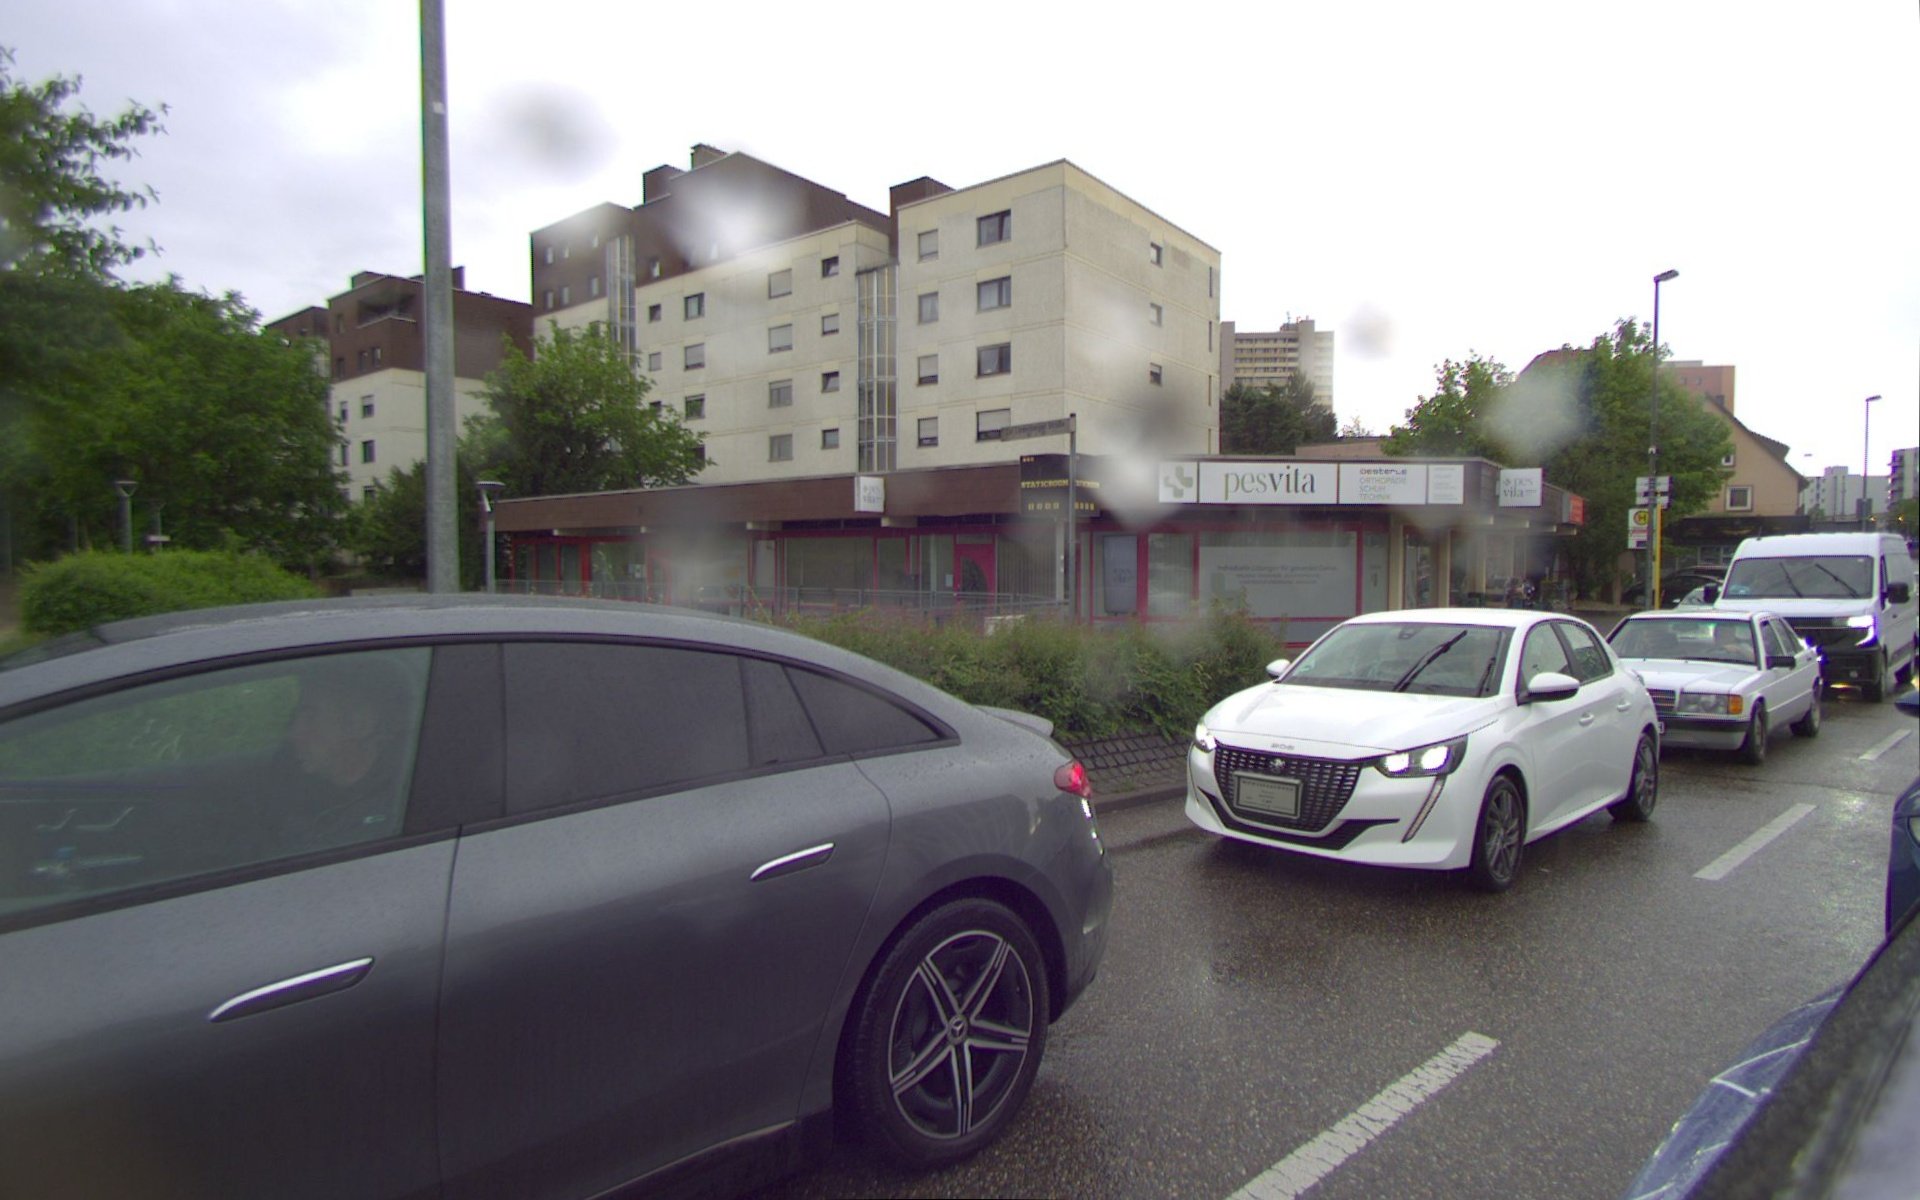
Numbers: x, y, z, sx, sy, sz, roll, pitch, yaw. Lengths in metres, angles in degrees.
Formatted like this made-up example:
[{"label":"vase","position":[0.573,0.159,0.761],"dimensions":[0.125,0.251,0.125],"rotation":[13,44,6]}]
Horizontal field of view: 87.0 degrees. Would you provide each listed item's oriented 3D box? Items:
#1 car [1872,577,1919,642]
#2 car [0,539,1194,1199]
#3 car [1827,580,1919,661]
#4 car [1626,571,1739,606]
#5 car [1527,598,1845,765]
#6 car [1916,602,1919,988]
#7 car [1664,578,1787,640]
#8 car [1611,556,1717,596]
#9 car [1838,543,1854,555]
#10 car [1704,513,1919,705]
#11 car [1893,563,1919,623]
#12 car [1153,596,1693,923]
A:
[{"label":"car","position":[25.201,0.199,26.224],"dimensions":[3.933,1.588,1.996],"rotation":[-2,1,-43]},{"label":"car","position":[-1.602,0.662,2.445],"dimensions":[4.724,1.485,1.840],"rotation":[0,-1,-41]},{"label":"car","position":[19.998,0.365,21.527],"dimensions":[3.930,1.558,1.802],"rotation":[-1,2,-41]},{"label":"car","position":[32.171,-0.533,45.089],"dimensions":[3.981,1.445,1.858],"rotation":[2,2,39]},{"label":"car","position":[7.682,0.684,10.570],"dimensions":[4.089,1.362,1.787],"rotation":[-1,1,-41]},{"label":"car","position":[5.486,0.690,4.407],"dimensions":[3.933,1.406,1.690],"rotation":[-1,1,-43]},{"label":"car","position":[20.133,0.178,26.566],"dimensions":[3.930,1.509,1.787],"rotation":[-1,1,-41]},{"label":"car","position":[33.070,-1.126,47.600],"dimensions":[3.981,1.801,1.858],"rotation":[2,2,39]},{"label":"car","position":[139.467,-8.036,159.343],"dimensions":[1.657,1.654,3.754],"rotation":[1,1,37]},{"label":"car","position":[14.013,0.037,16.336],"dimensions":[6.021,2.549,2.194],"rotation":[-2,2,-43]},{"label":"car","position":[34.493,-0.275,35.576],"dimensions":[3.930,2.038,1.998],"rotation":[-1,3,-40]},{"label":"car","position":[3.172,0.712,6.529],"dimensions":[4.043,1.433,1.665],"rotation":[-1,1,-41]}]
